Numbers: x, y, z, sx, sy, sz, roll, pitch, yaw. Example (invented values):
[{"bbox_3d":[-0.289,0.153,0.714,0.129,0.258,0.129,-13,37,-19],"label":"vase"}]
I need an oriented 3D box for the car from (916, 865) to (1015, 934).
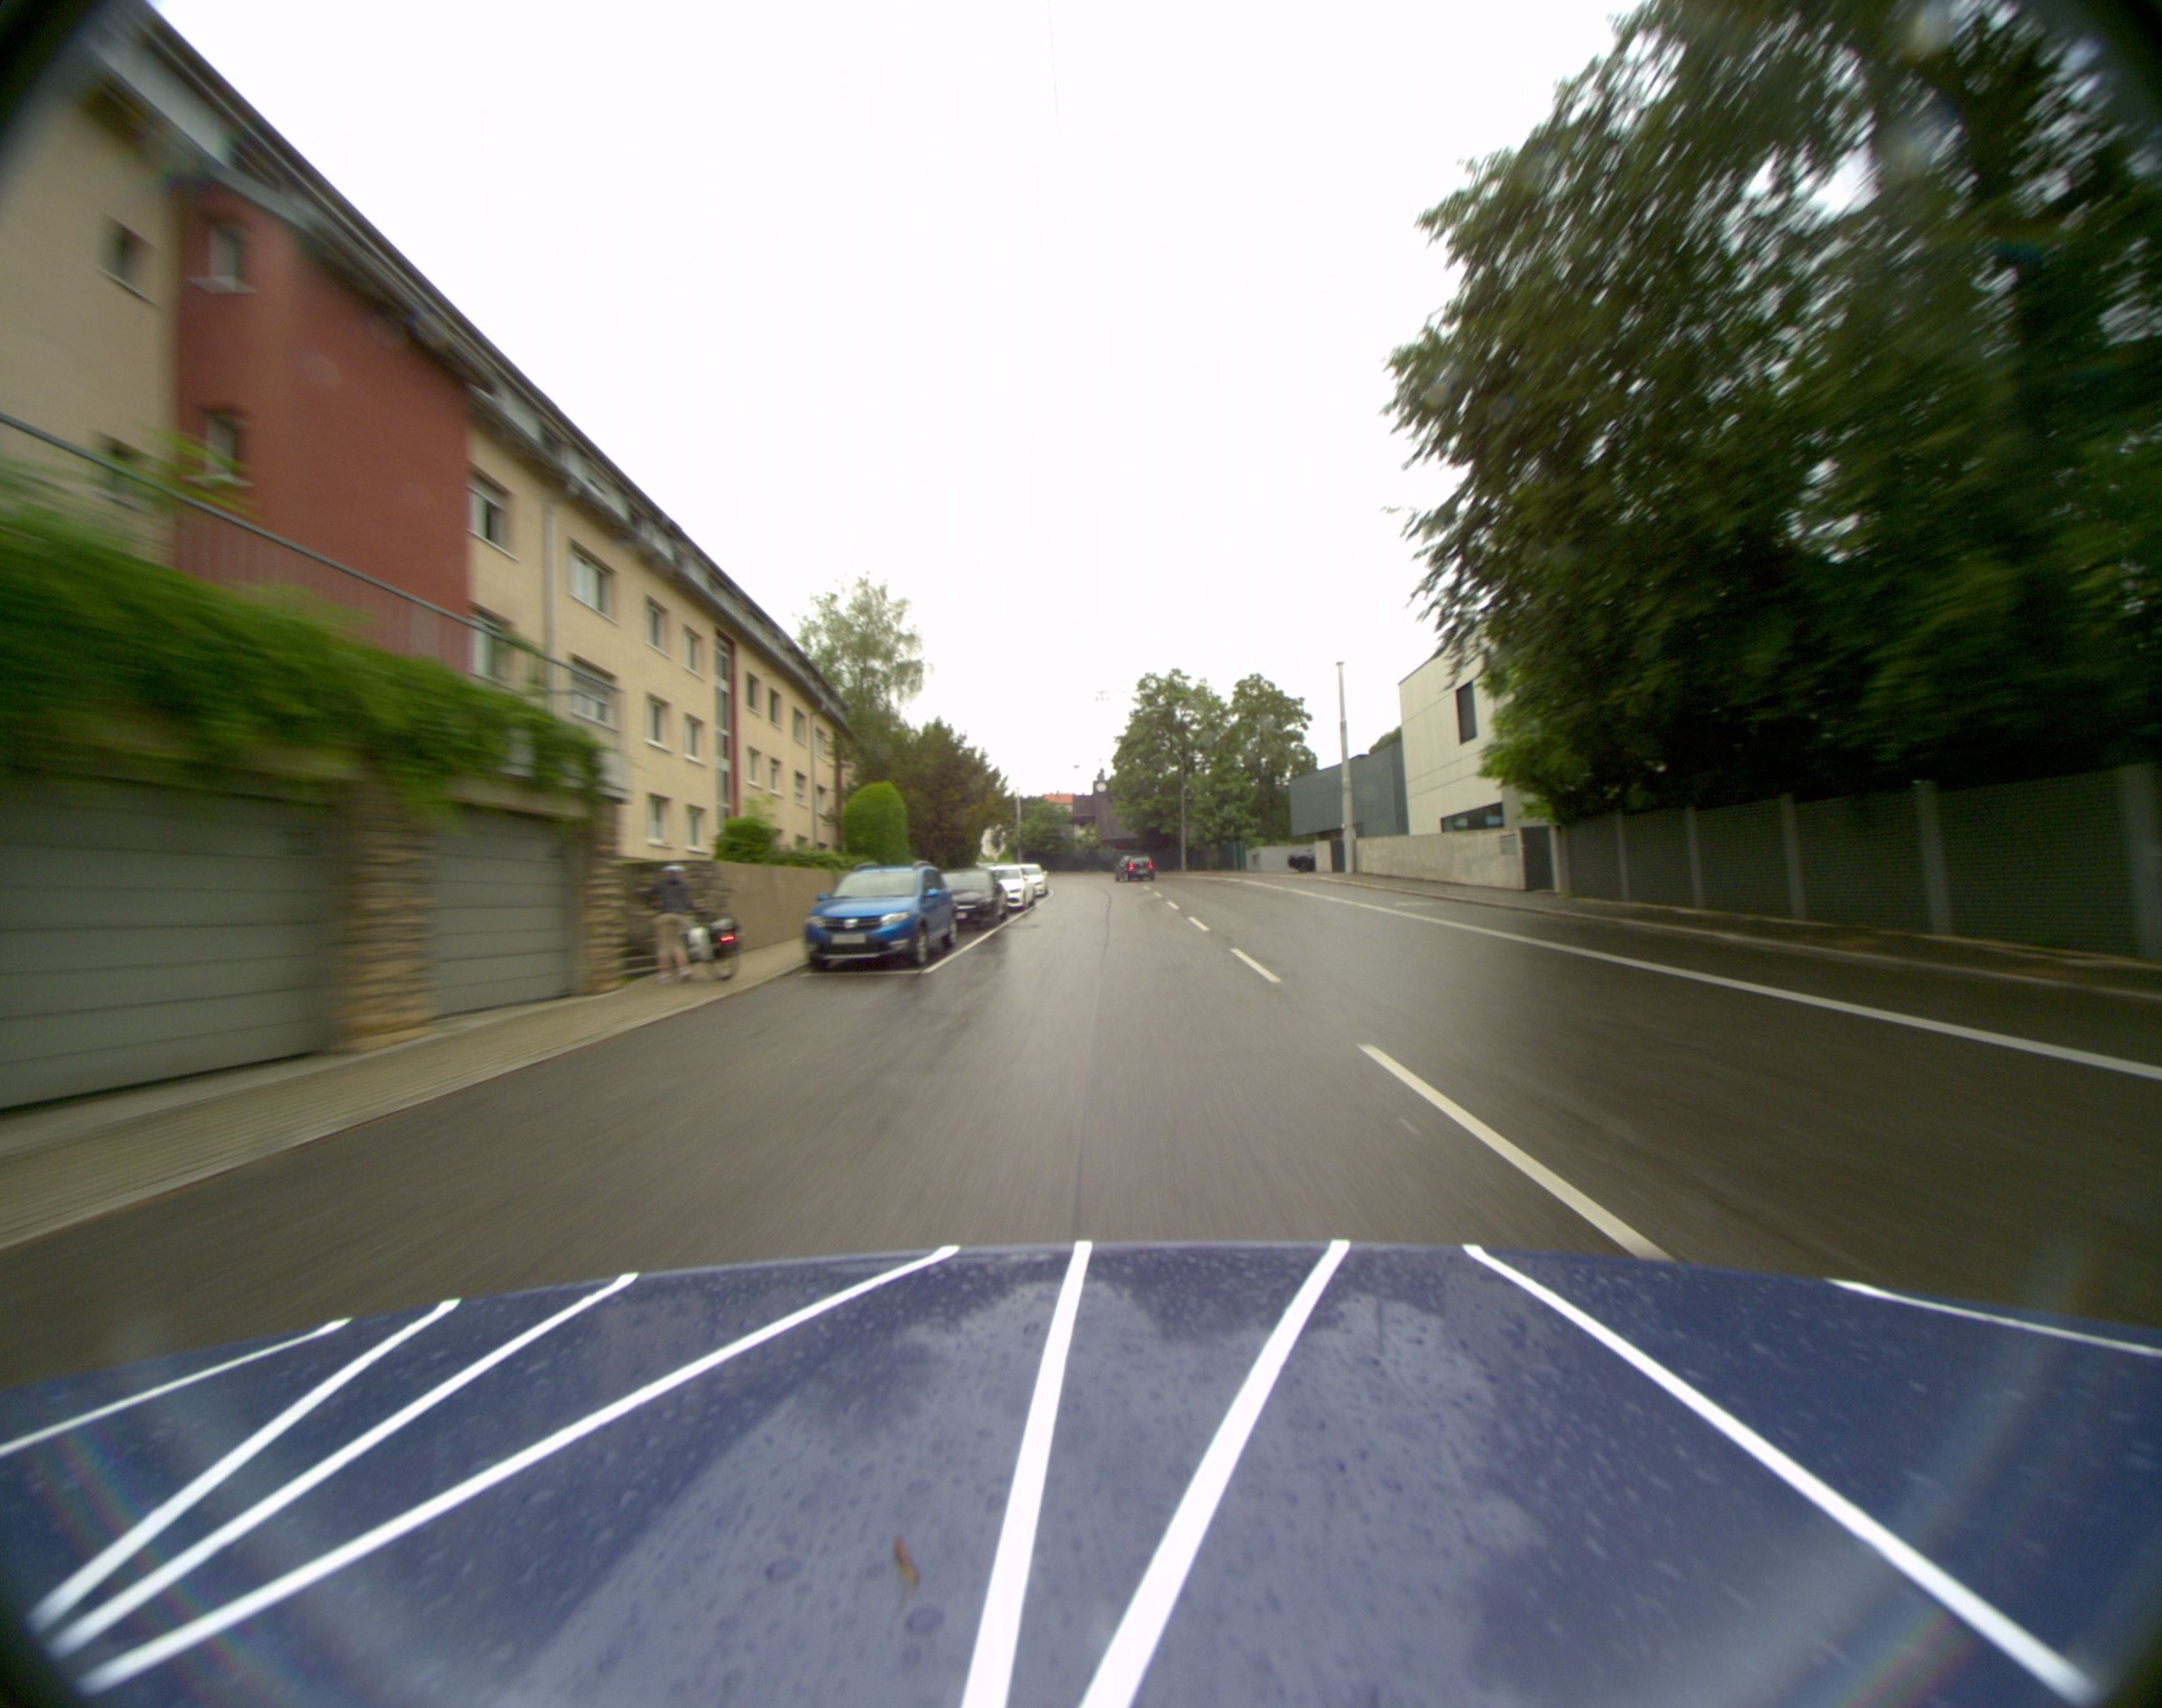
[{"bbox_3d":[-2.780,1.048,19.156,1.693,1.447,4.254,-2,0,1],"label":"car"}]

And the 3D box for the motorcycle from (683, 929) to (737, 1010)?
[{"bbox_3d":[-4.888,1.475,9.976,0.537,0.851,1.377,-4,1,-28],"label":"motorcycle"}]

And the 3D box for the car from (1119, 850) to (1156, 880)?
[{"bbox_3d":[3.196,0.599,43.856,1.653,1.412,3.801,-5,2,-2],"label":"car"}]

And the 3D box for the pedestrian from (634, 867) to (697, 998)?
[{"bbox_3d":[-5.523,1.016,10.118,0.622,1.641,0.613,-4,1,-29],"label":"pedestrian"}]

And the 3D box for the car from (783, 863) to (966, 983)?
[{"bbox_3d":[-3.217,0.996,12.788,1.738,1.584,4.254,-2,0,2],"label":"car"}]

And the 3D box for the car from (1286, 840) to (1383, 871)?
[{"bbox_3d":[12.144,0.086,36.541,3.989,1.293,1.901,-3,0,36],"label":"car"}]

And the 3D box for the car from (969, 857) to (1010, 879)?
[{"bbox_3d":[-6.407,0.972,52.992,1.690,1.462,3.731,2,-2,-26],"label":"car"}]

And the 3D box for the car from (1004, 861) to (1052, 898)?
[{"bbox_3d":[-2.363,1.112,34.849,1.783,1.427,4.569,-4,0,0],"label":"car"}]

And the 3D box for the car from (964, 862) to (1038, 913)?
[{"bbox_3d":[-2.554,1.052,25.234,1.811,1.447,4.254,-2,0,2],"label":"car"}]
